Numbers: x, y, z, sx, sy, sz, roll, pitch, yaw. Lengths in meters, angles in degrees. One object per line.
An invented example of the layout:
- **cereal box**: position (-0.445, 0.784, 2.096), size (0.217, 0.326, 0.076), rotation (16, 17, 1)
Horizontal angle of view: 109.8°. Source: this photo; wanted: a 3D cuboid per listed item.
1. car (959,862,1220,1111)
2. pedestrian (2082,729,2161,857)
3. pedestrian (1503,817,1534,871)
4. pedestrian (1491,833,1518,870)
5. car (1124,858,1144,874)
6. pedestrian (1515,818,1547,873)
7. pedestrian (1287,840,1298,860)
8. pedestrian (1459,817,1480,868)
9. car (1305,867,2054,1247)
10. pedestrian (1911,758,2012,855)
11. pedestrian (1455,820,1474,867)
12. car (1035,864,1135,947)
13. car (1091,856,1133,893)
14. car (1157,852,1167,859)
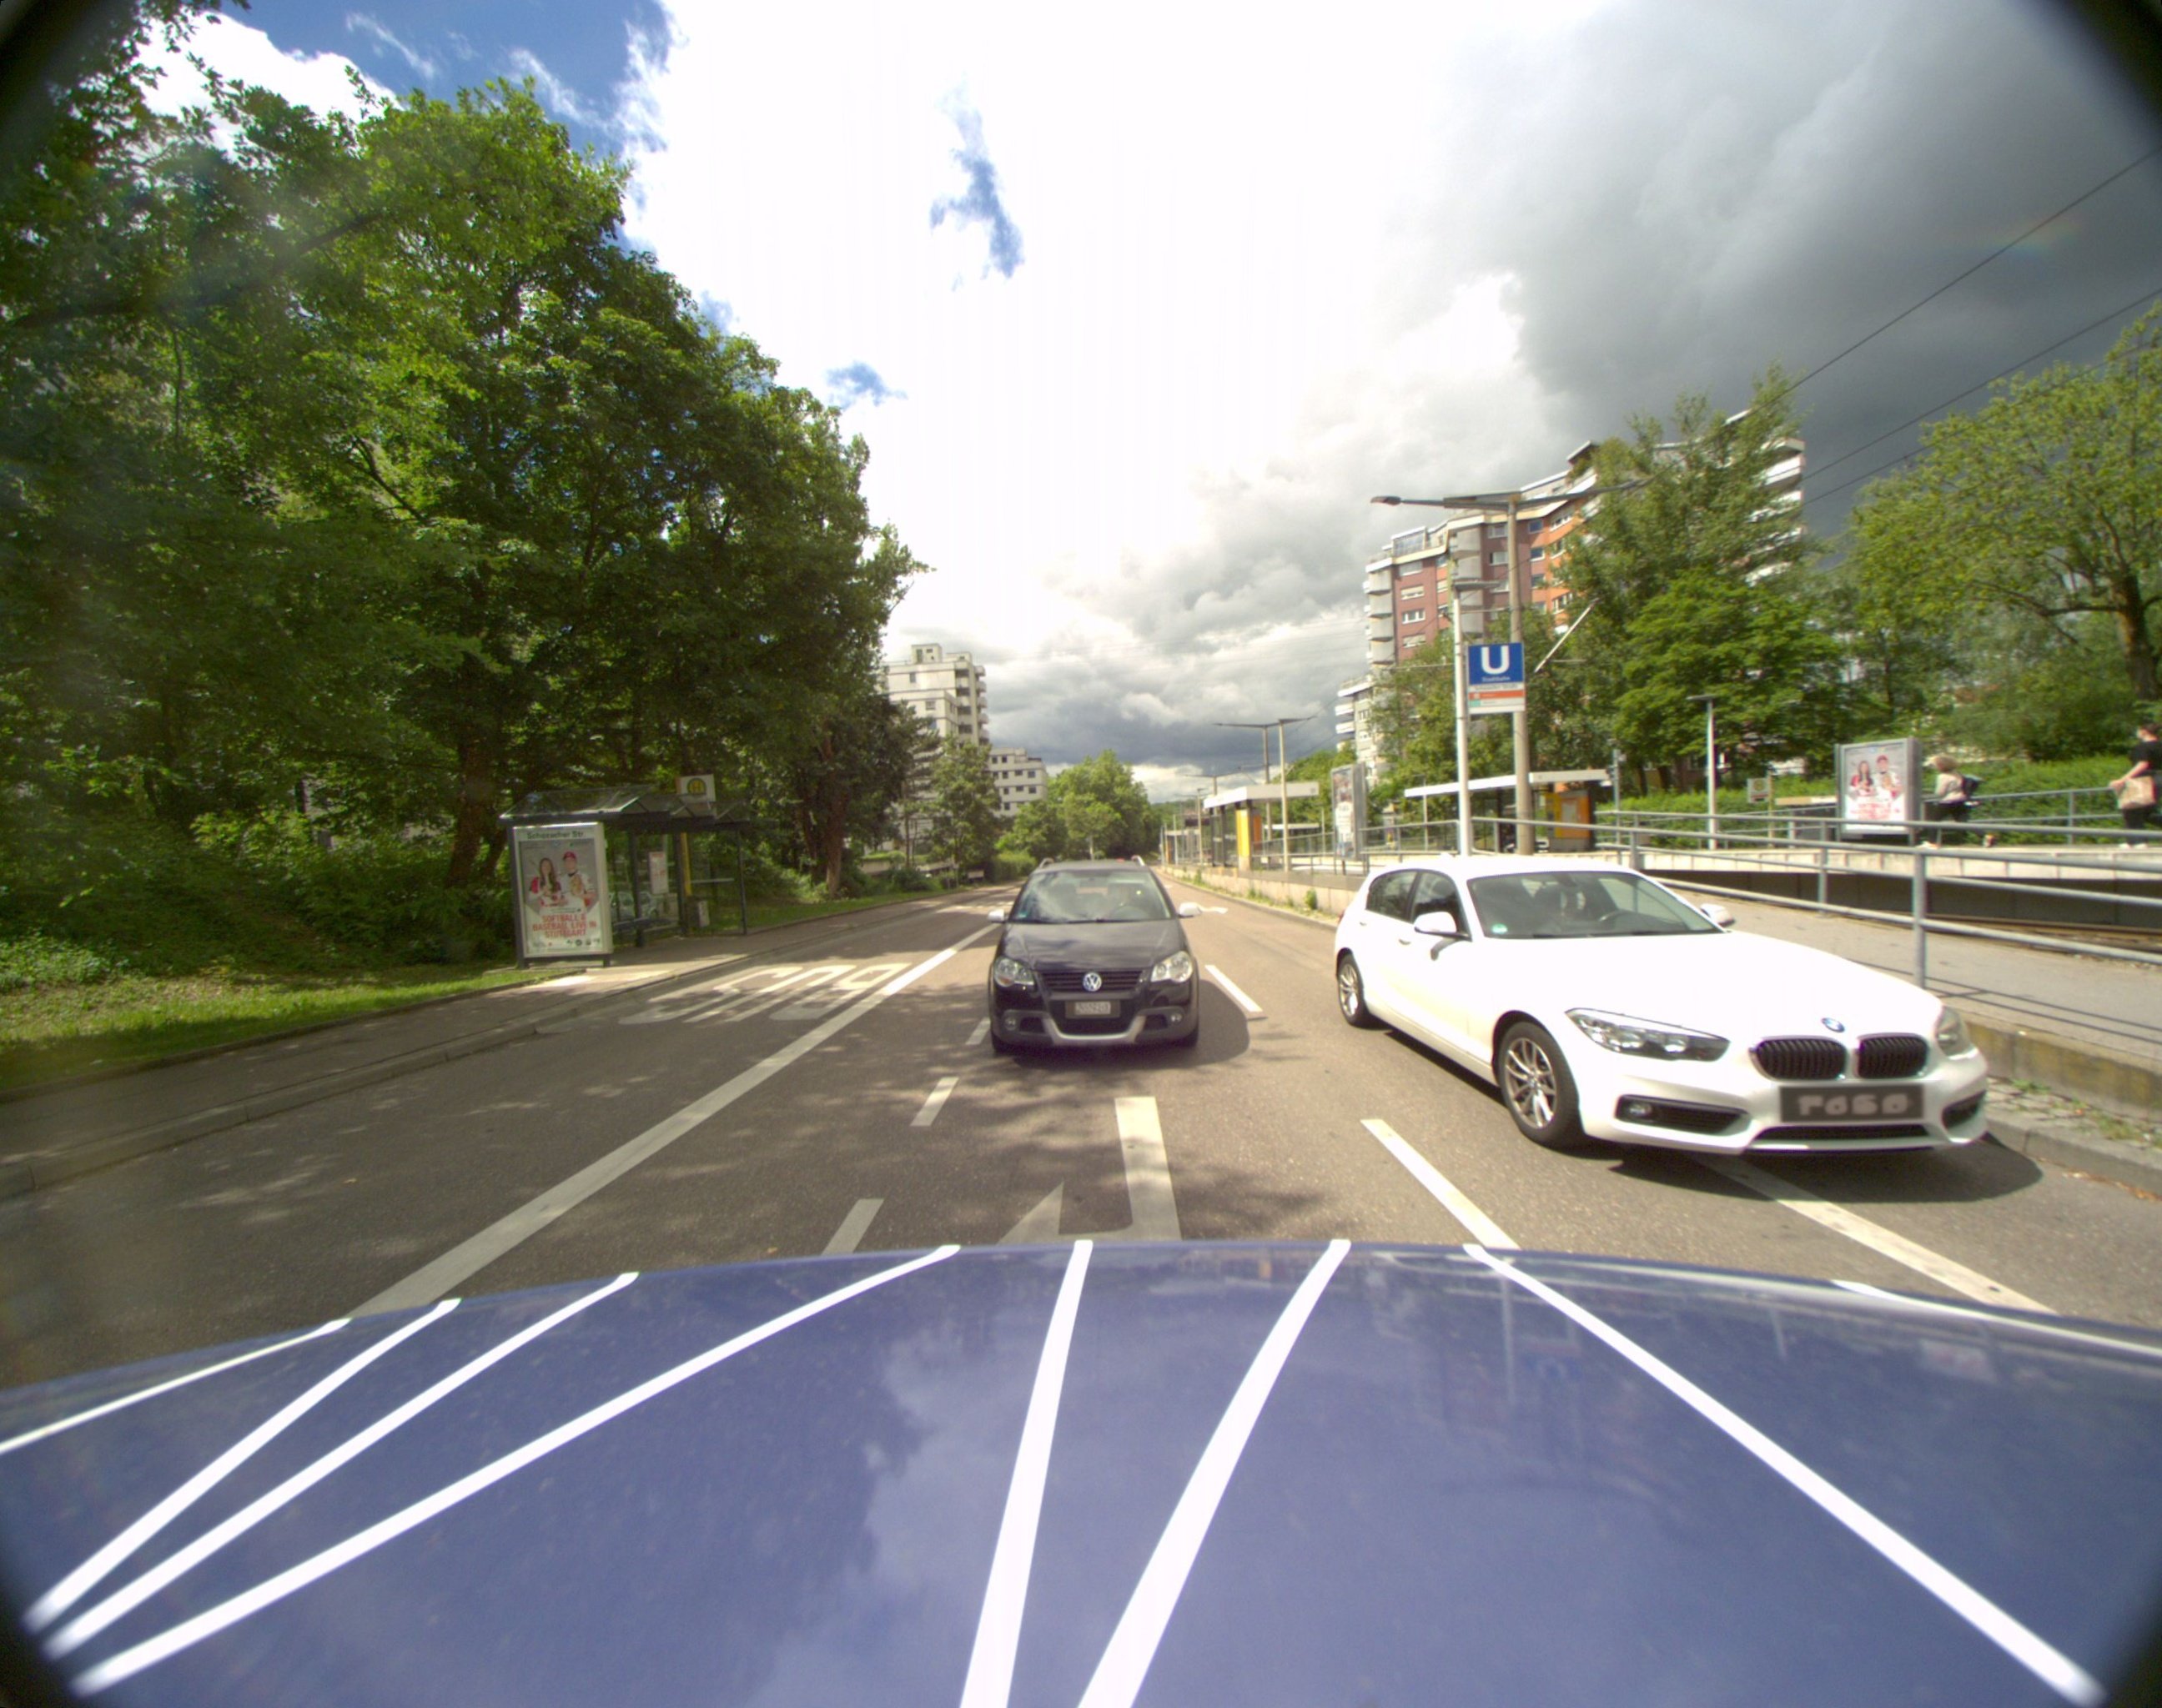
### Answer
- **car**: position (0.076, 0.908, 6.967), size (1.681, 1.529, 3.793), rotation (-2, 1, 0)
- **pedestrian**: position (15.191, -0.858, 10.828), size (0.865, 1.763, 0.747), rotation (-2, 1, 0)
- **pedestrian**: position (16.379, -0.370, 28.447), size (0.780, 2.002, 0.584), rotation (-2, 1, 1)
- **pedestrian**: position (16.484, -0.091, 29.579), size (0.645, 1.407, 0.658), rotation (-2, 1, 1)
- **car**: position (5.068, 1.110, 72.539), size (1.845, 1.409, 4.001), rotation (-2, 1, 4)
- **pedestrian**: position (16.238, -0.301, 27.417), size (0.771, 1.920, 0.573), rotation (-2, 1, -1)
- **pedestrian**: position (18.268, -0.325, 65.543), size (0.774, 1.696, 0.766), rotation (-2, 1, 9)
- **pedestrian**: position (16.457, -0.496, 32.182), size (0.532, 2.129, 0.608), rotation (-2, 1, 4)
- **car**: position (3.096, 0.872, 5.255), size (1.794, 1.442, 4.275), rotation (-1, 0, 0)
- **pedestrian**: position (15.234, -0.802, 13.167), size (0.865, 1.597, 0.747), rotation (-2, 1, 0)
- **pedestrian**: position (16.601, -0.468, 32.914), size (0.517, 2.002, 0.557), rotation (-2, 1, 1)
- **car**: position (0.048, 0.963, 15.901), size (1.819, 1.483, 4.000), rotation (-1, -1, -1)
- **car**: position (1.432, 0.947, 36.504), size (1.846, 1.553, 3.999), rotation (-2, 1, 1)
- **car**: position (17.363, 0.321, 162.436), size (1.805, 1.208, 4.022), rotation (-2, 1, 3)
